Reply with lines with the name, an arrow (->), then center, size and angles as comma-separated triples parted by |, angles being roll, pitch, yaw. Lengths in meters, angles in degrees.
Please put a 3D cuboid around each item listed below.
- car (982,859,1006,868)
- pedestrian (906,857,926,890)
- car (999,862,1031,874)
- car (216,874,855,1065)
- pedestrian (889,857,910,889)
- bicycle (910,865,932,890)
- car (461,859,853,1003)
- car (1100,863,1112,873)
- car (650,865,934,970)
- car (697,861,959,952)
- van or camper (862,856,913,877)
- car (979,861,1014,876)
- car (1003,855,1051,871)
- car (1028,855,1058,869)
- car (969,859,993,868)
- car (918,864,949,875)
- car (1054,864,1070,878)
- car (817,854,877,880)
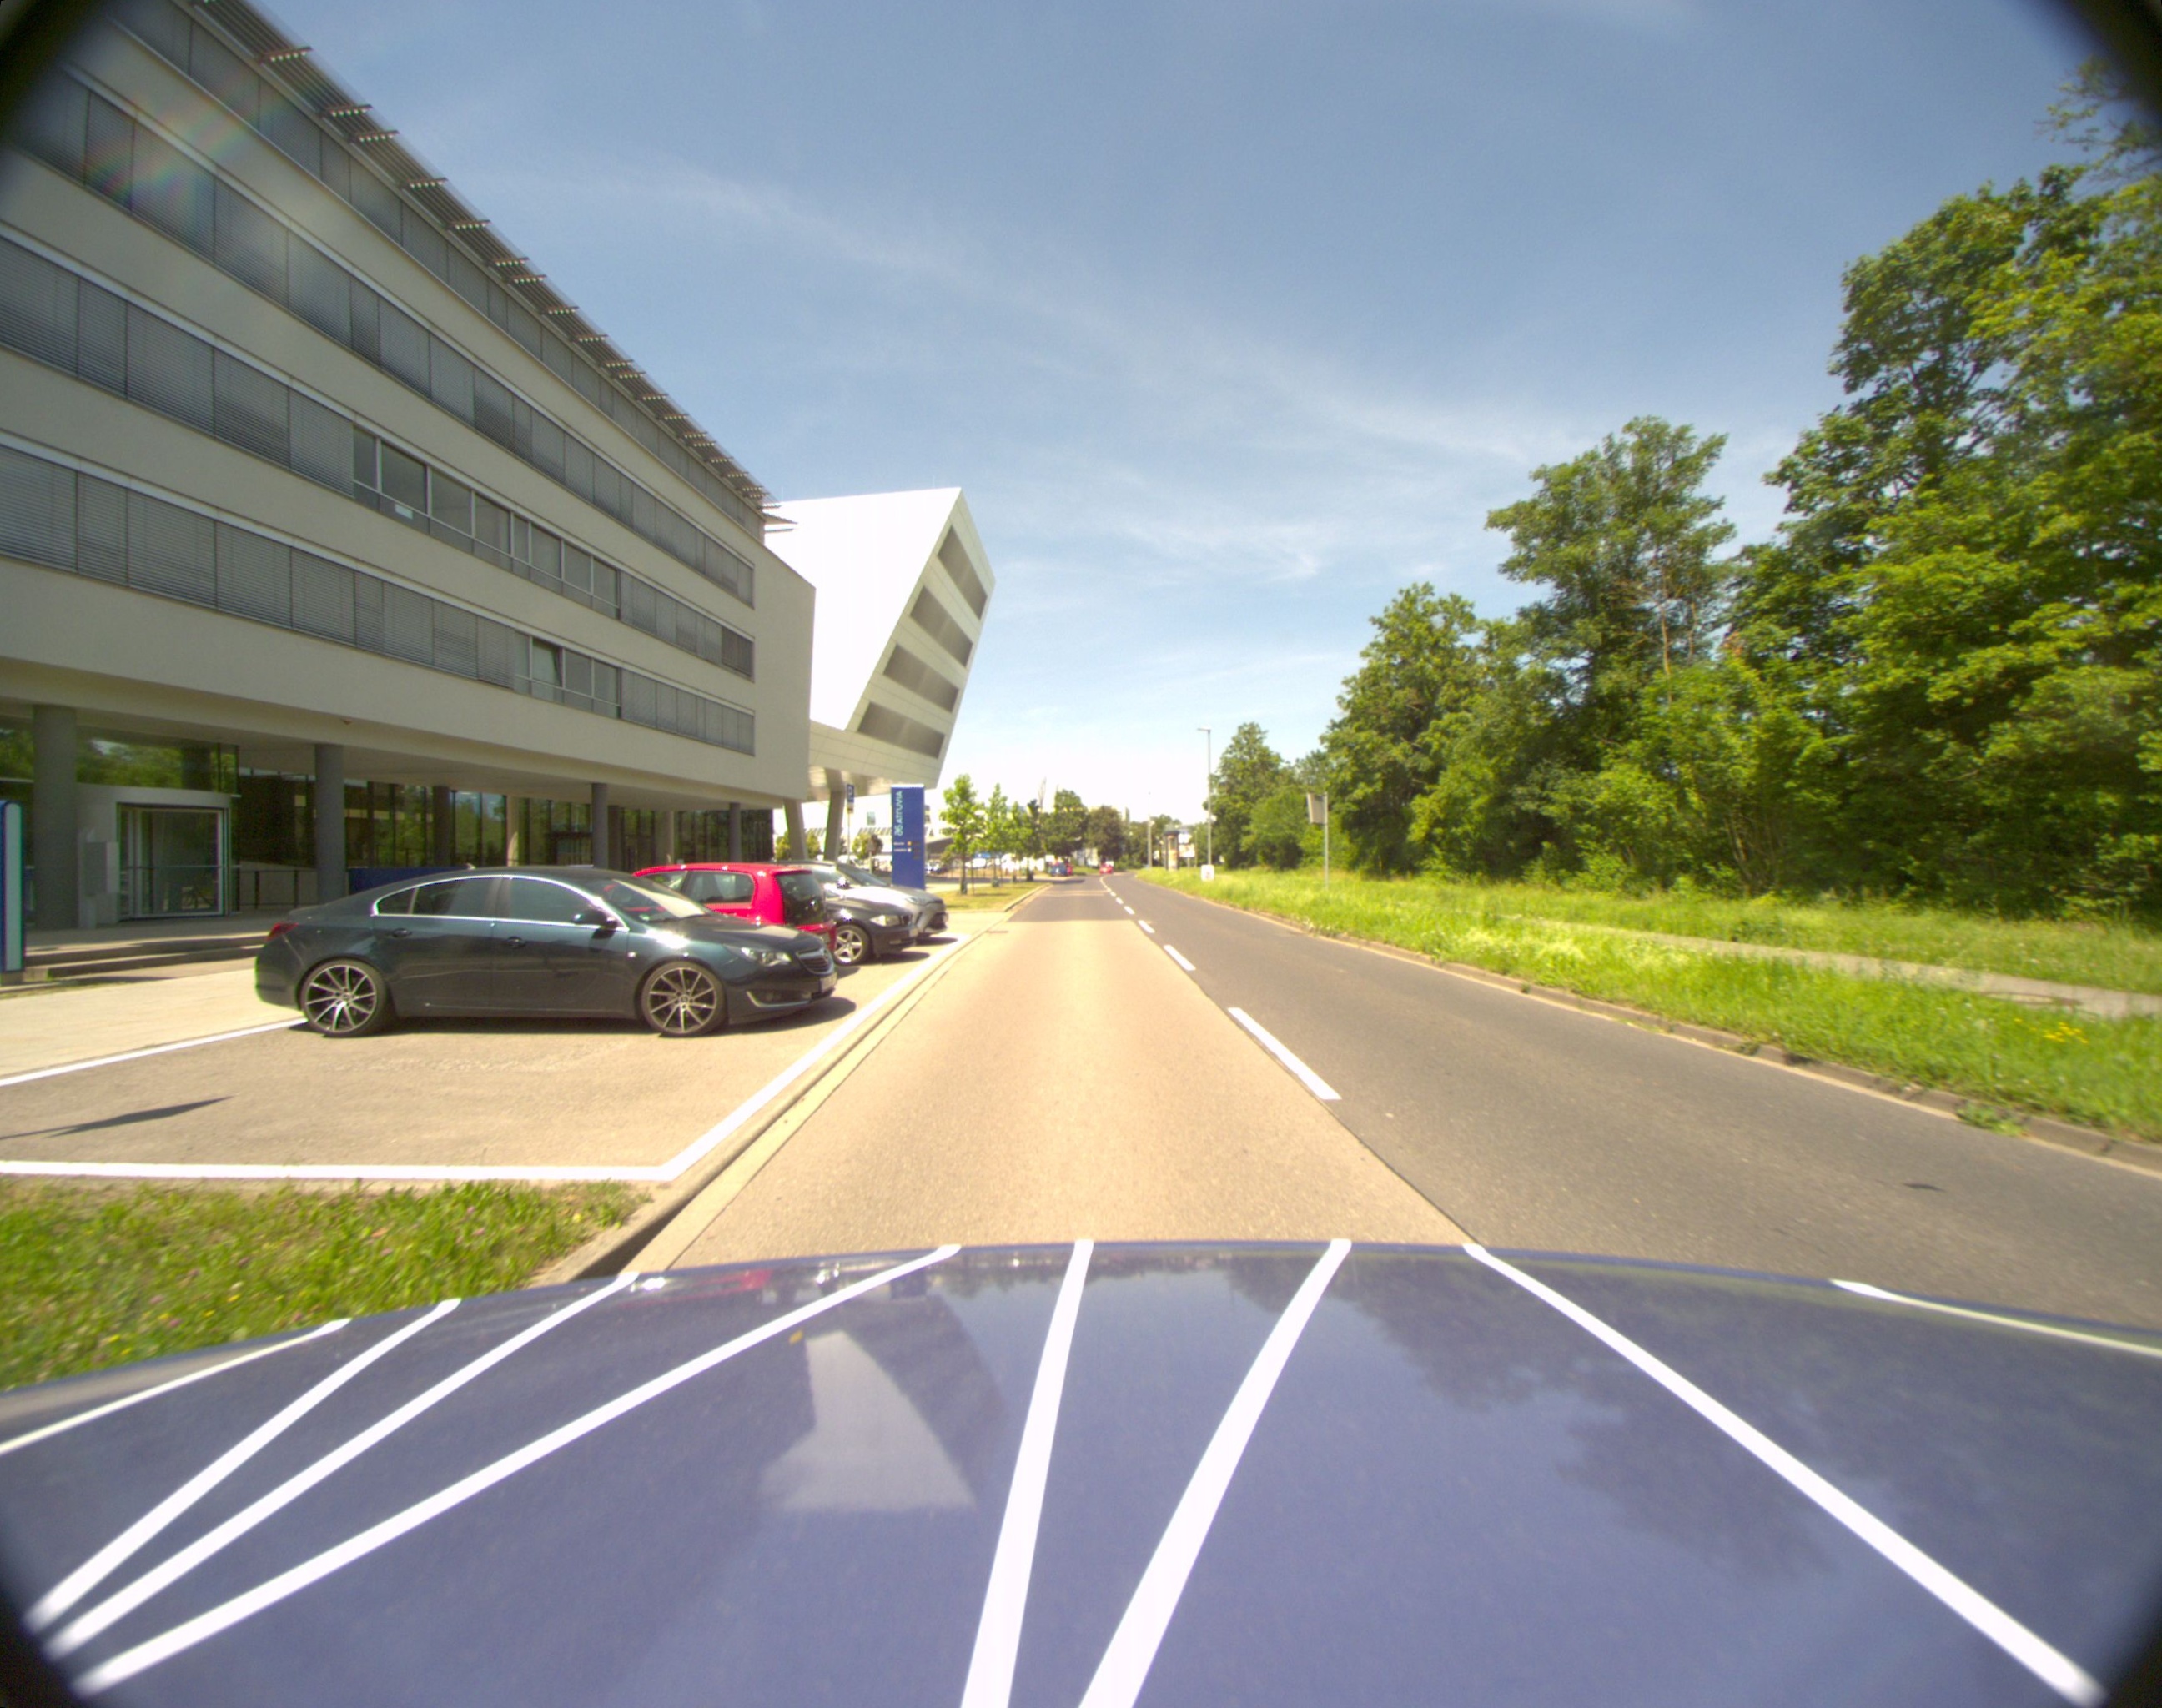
car -> -17.057, 1.806, 148.878 | 4.321, 1.647, 1.704 | -2, 0, 7
pedestrian -> -8.790, 1.041, 40.493 | 0.844, 1.691, 0.775 | -2, 0, -1
car -> -8.767, 1.830, 100.896 | 3.996, 1.385, 1.653 | -2, 0, 4
car -> -4.685, 0.966, 7.075 | 4.579, 1.423, 1.827 | 1, 0, -1
pedestrian -> -9.667, 0.993, 40.466 | 0.844, 1.650, 0.775 | -2, 0, -1
bicycle -> -8.469, 1.245, 40.244 | 0.645, 1.247, 2.305 | -2, 0, -1
car -> -5.221, 0.901, 9.746 | 3.996, 1.645, 1.839 | 0, 0, 2
car -> 3.629, 2.044, 109.974 | 1.712, 1.368, 3.676 | -2, 0, 4
car -> -4.405, 0.932, 11.930 | 3.816, 1.477, 1.656 | 0, 0, 2
car -> -4.635, 0.937, 14.352 | 4.331, 1.554, 1.786 | 1, 0, 1
van or camper -> -23.183, 1.468, 91.146 | 5.699, 2.376, 1.704 | -2, 0, 7
car -> -10.107, 1.745, 91.196 | 3.821, 1.664, 1.742 | -2, 0, 3
car -> -7.637, 1.307, 108.132 | 6.492, 2.137, 2.166 | -2, 0, 7
car -> -5.715, 1.256, 113.860 | 4.204, 1.964, 1.704 | -2, 0, 7
car -> -18.109, 1.744, 137.387 | 3.916, 1.533, 1.704 | -2, 0, 7
car -> -20.374, 2.093, 104.893 | 3.815, 1.362, 1.460 | -2, 0, 7
car -> -2.248, 1.969, 89.210 | 1.802, 1.490, 4.000 | -2, 0, -1
car -> -24.110, 1.343, 78.347 | 5.580, 2.445, 2.001 | -2, 0, 7
